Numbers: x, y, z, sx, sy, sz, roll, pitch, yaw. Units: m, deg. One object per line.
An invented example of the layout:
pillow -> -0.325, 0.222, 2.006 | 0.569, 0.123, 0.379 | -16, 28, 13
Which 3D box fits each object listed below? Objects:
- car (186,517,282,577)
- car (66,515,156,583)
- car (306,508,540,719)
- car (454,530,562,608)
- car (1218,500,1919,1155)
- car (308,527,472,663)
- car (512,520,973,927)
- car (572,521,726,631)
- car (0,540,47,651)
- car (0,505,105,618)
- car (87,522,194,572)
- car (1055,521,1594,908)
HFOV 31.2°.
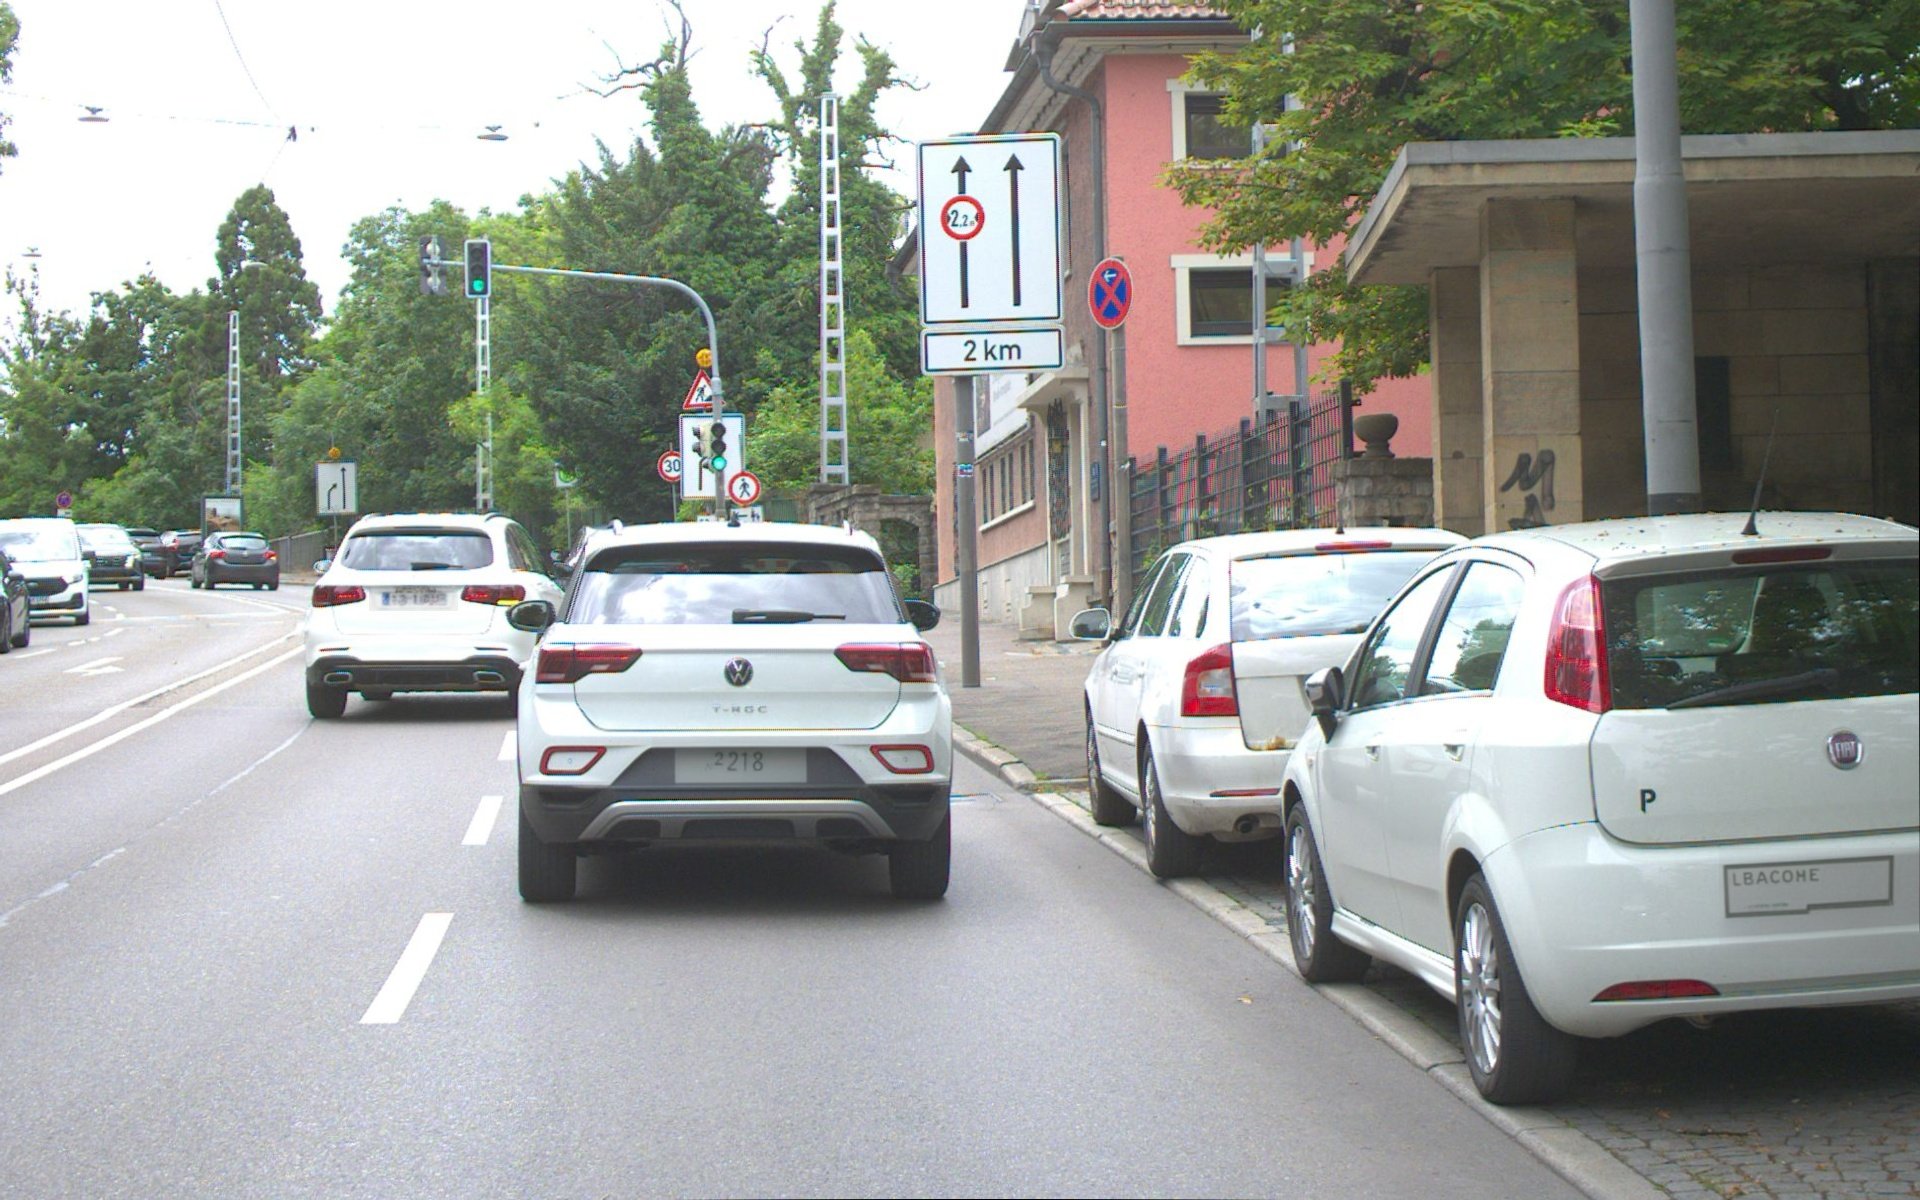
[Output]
car -> -18.206, -1.314, 86.123 | 1.780, 1.449, 4.001 | 0, 1, -20
car -> -20.896, -1.273, 84.695 | 1.848, 1.626, 4.362 | 0, 1, -10
car -> -4.397, 0.096, 28.603 | 1.757, 1.604, 3.796 | 1, 0, -7
car -> -8.680, -0.591, 66.227 | 1.993, 1.445, 4.151 | 0, 0, -7
car -> 1.989, 0.490, 10.329 | 1.715, 1.466, 4.039 | -4, 2, -5
car -> -6.590, -0.066, 39.847 | 1.757, 1.466, 3.796 | 1, 0, -9
car -> -1.079, 0.472, 15.176 | 1.757, 1.550, 3.796 | 1, 0, -7
car -> -4.240, -0.325, 47.337 | 1.993, 1.409, 4.151 | -1, 0, -4
car -> -13.050, -0.052, 44.724 | 1.562, 1.397, 4.254 | -2, 1, -6
car -> -15.669, -0.629, 58.304 | 1.892, 1.842, 4.398 | -1, 0, -9
car -> -26.734, -1.705, 112.094 | 1.994, 1.570, 4.150 | -1, 0, -35
car -> 1.502, 0.408, 15.721 | 1.675, 1.456, 4.366 | -2, 1, -4
